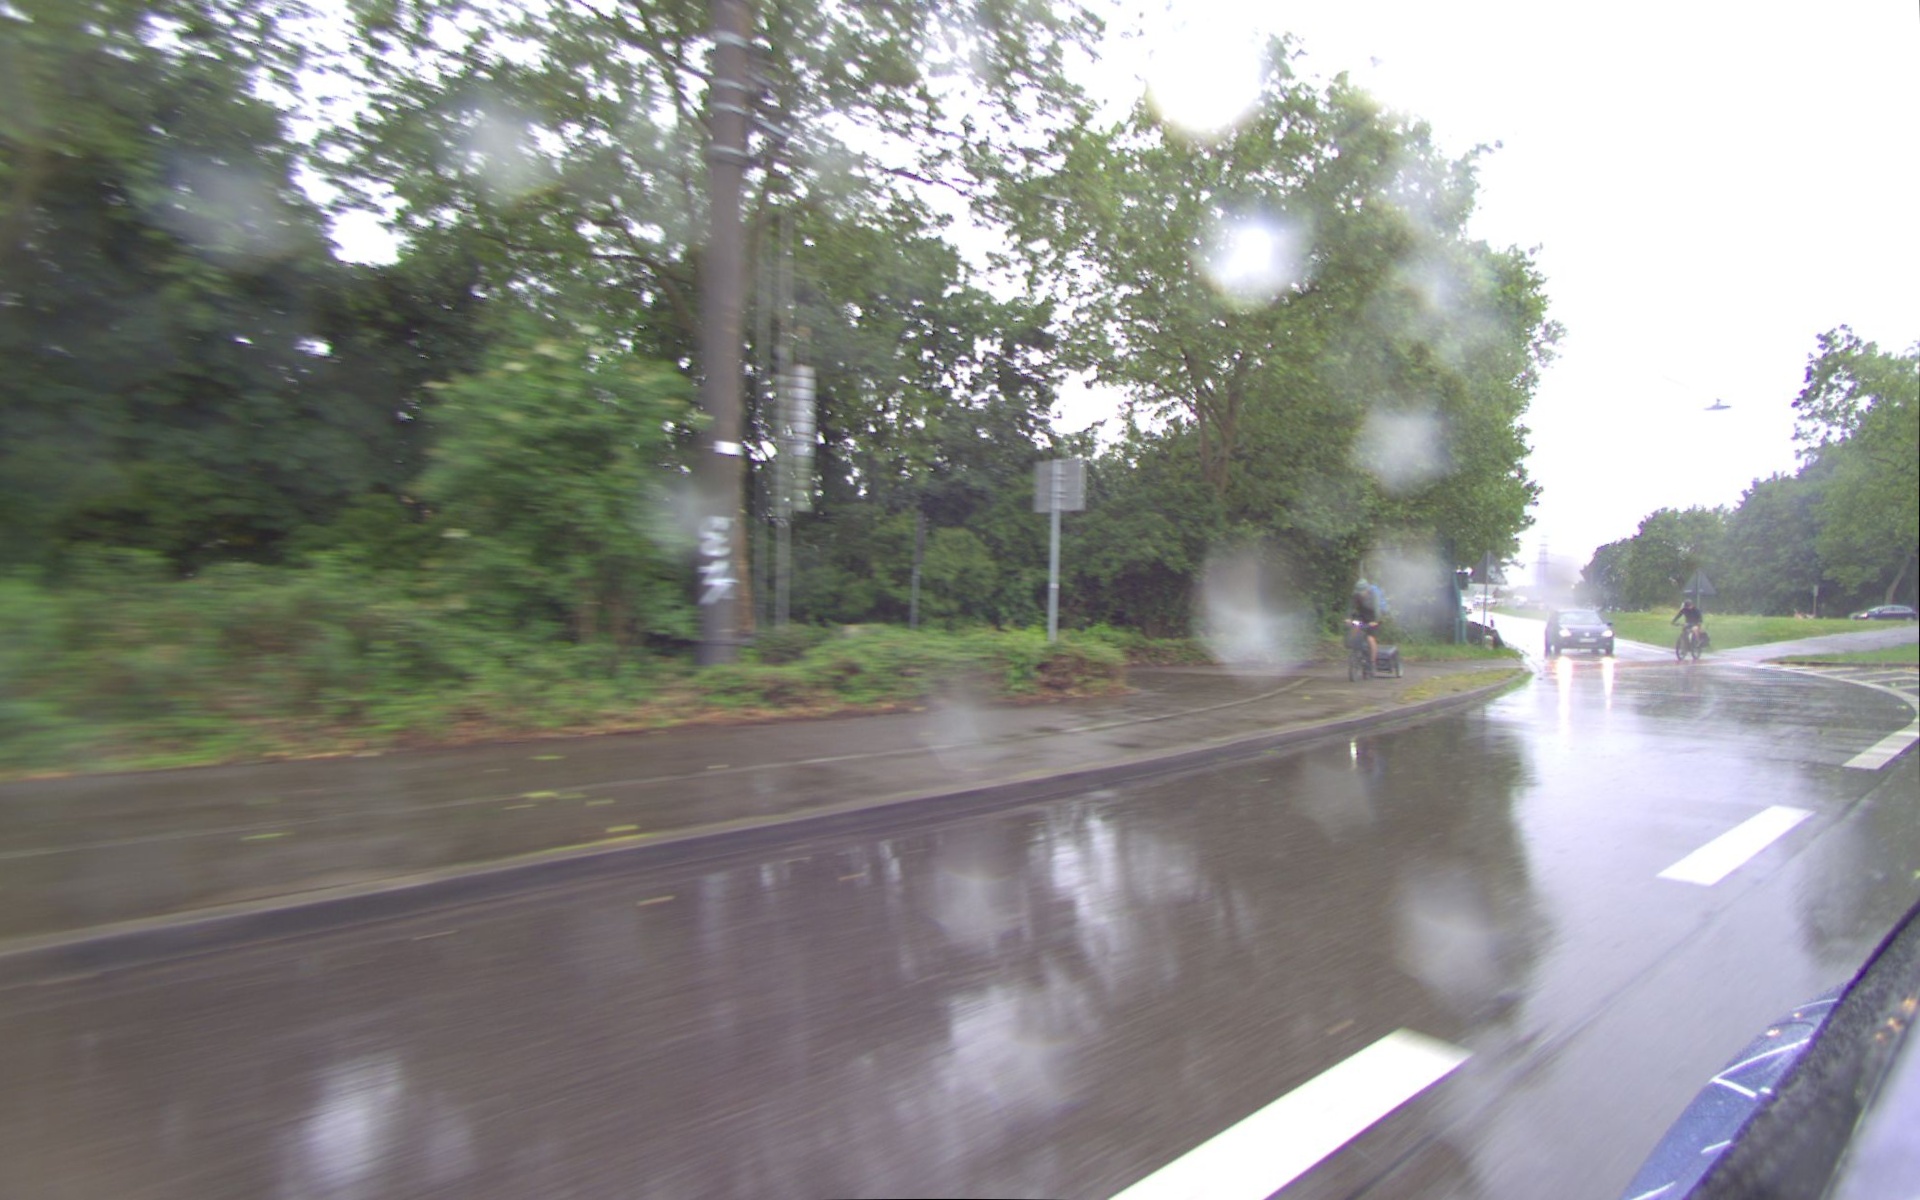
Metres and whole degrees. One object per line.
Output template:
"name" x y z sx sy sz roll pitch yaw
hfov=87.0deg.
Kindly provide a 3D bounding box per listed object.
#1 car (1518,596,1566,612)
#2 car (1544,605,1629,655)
"car" 58.098 0.390 101.100 1.715 1.437 4.010 1 2 -16
"car" 21.978 1.001 35.650 1.848 1.556 4.481 1 1 23
